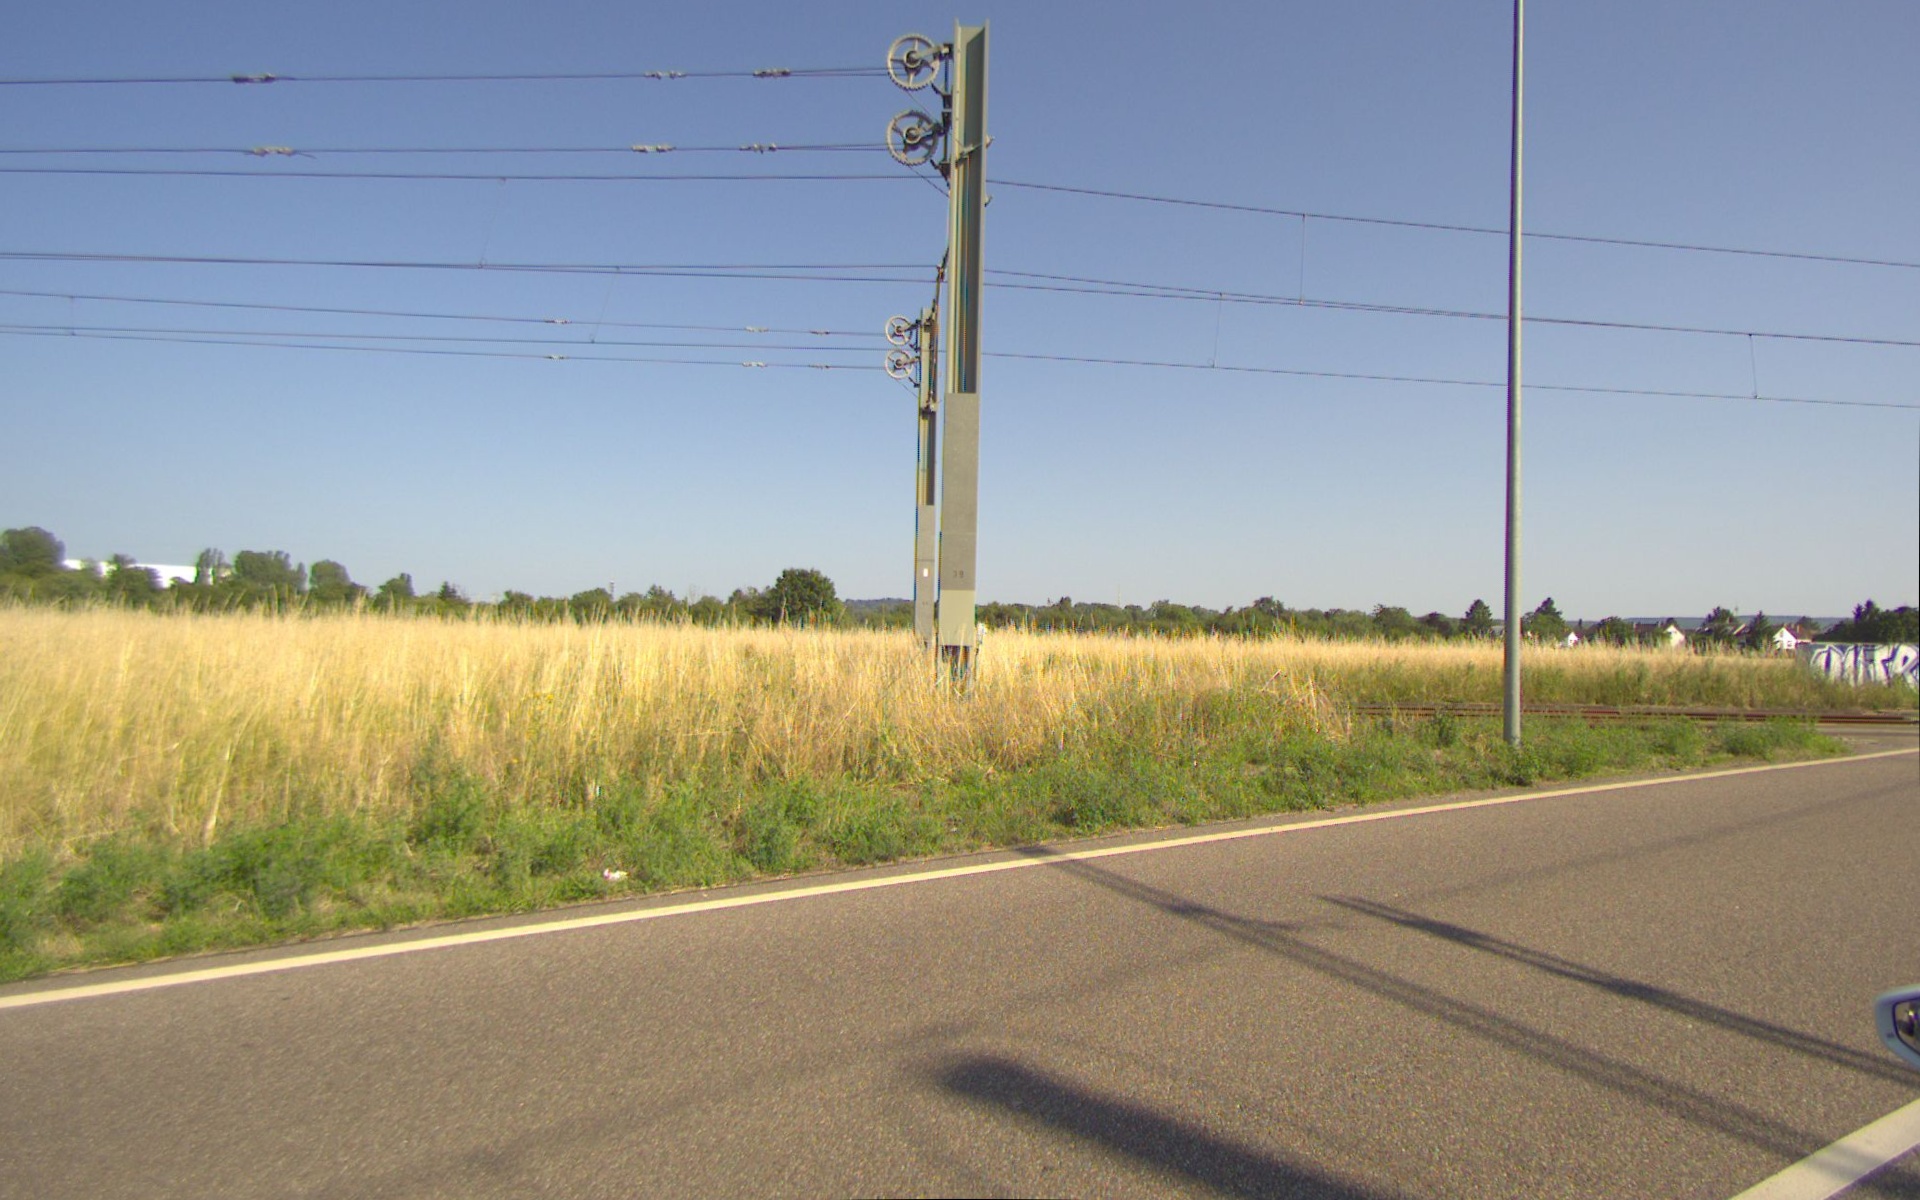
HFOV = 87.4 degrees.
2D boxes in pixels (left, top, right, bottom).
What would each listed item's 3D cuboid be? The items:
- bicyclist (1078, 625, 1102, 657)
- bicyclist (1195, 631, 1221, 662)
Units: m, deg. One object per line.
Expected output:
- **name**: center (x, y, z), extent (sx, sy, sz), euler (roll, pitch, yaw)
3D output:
- **bicyclist**: center (5.096, 1.604, 39.290), extent (0.775, 1.221, 0.603), euler (1, -1, -8)
- **bicyclist**: center (9.822, 1.835, 39.802), extent (0.775, 1.221, 0.747), euler (2, -1, -8)
